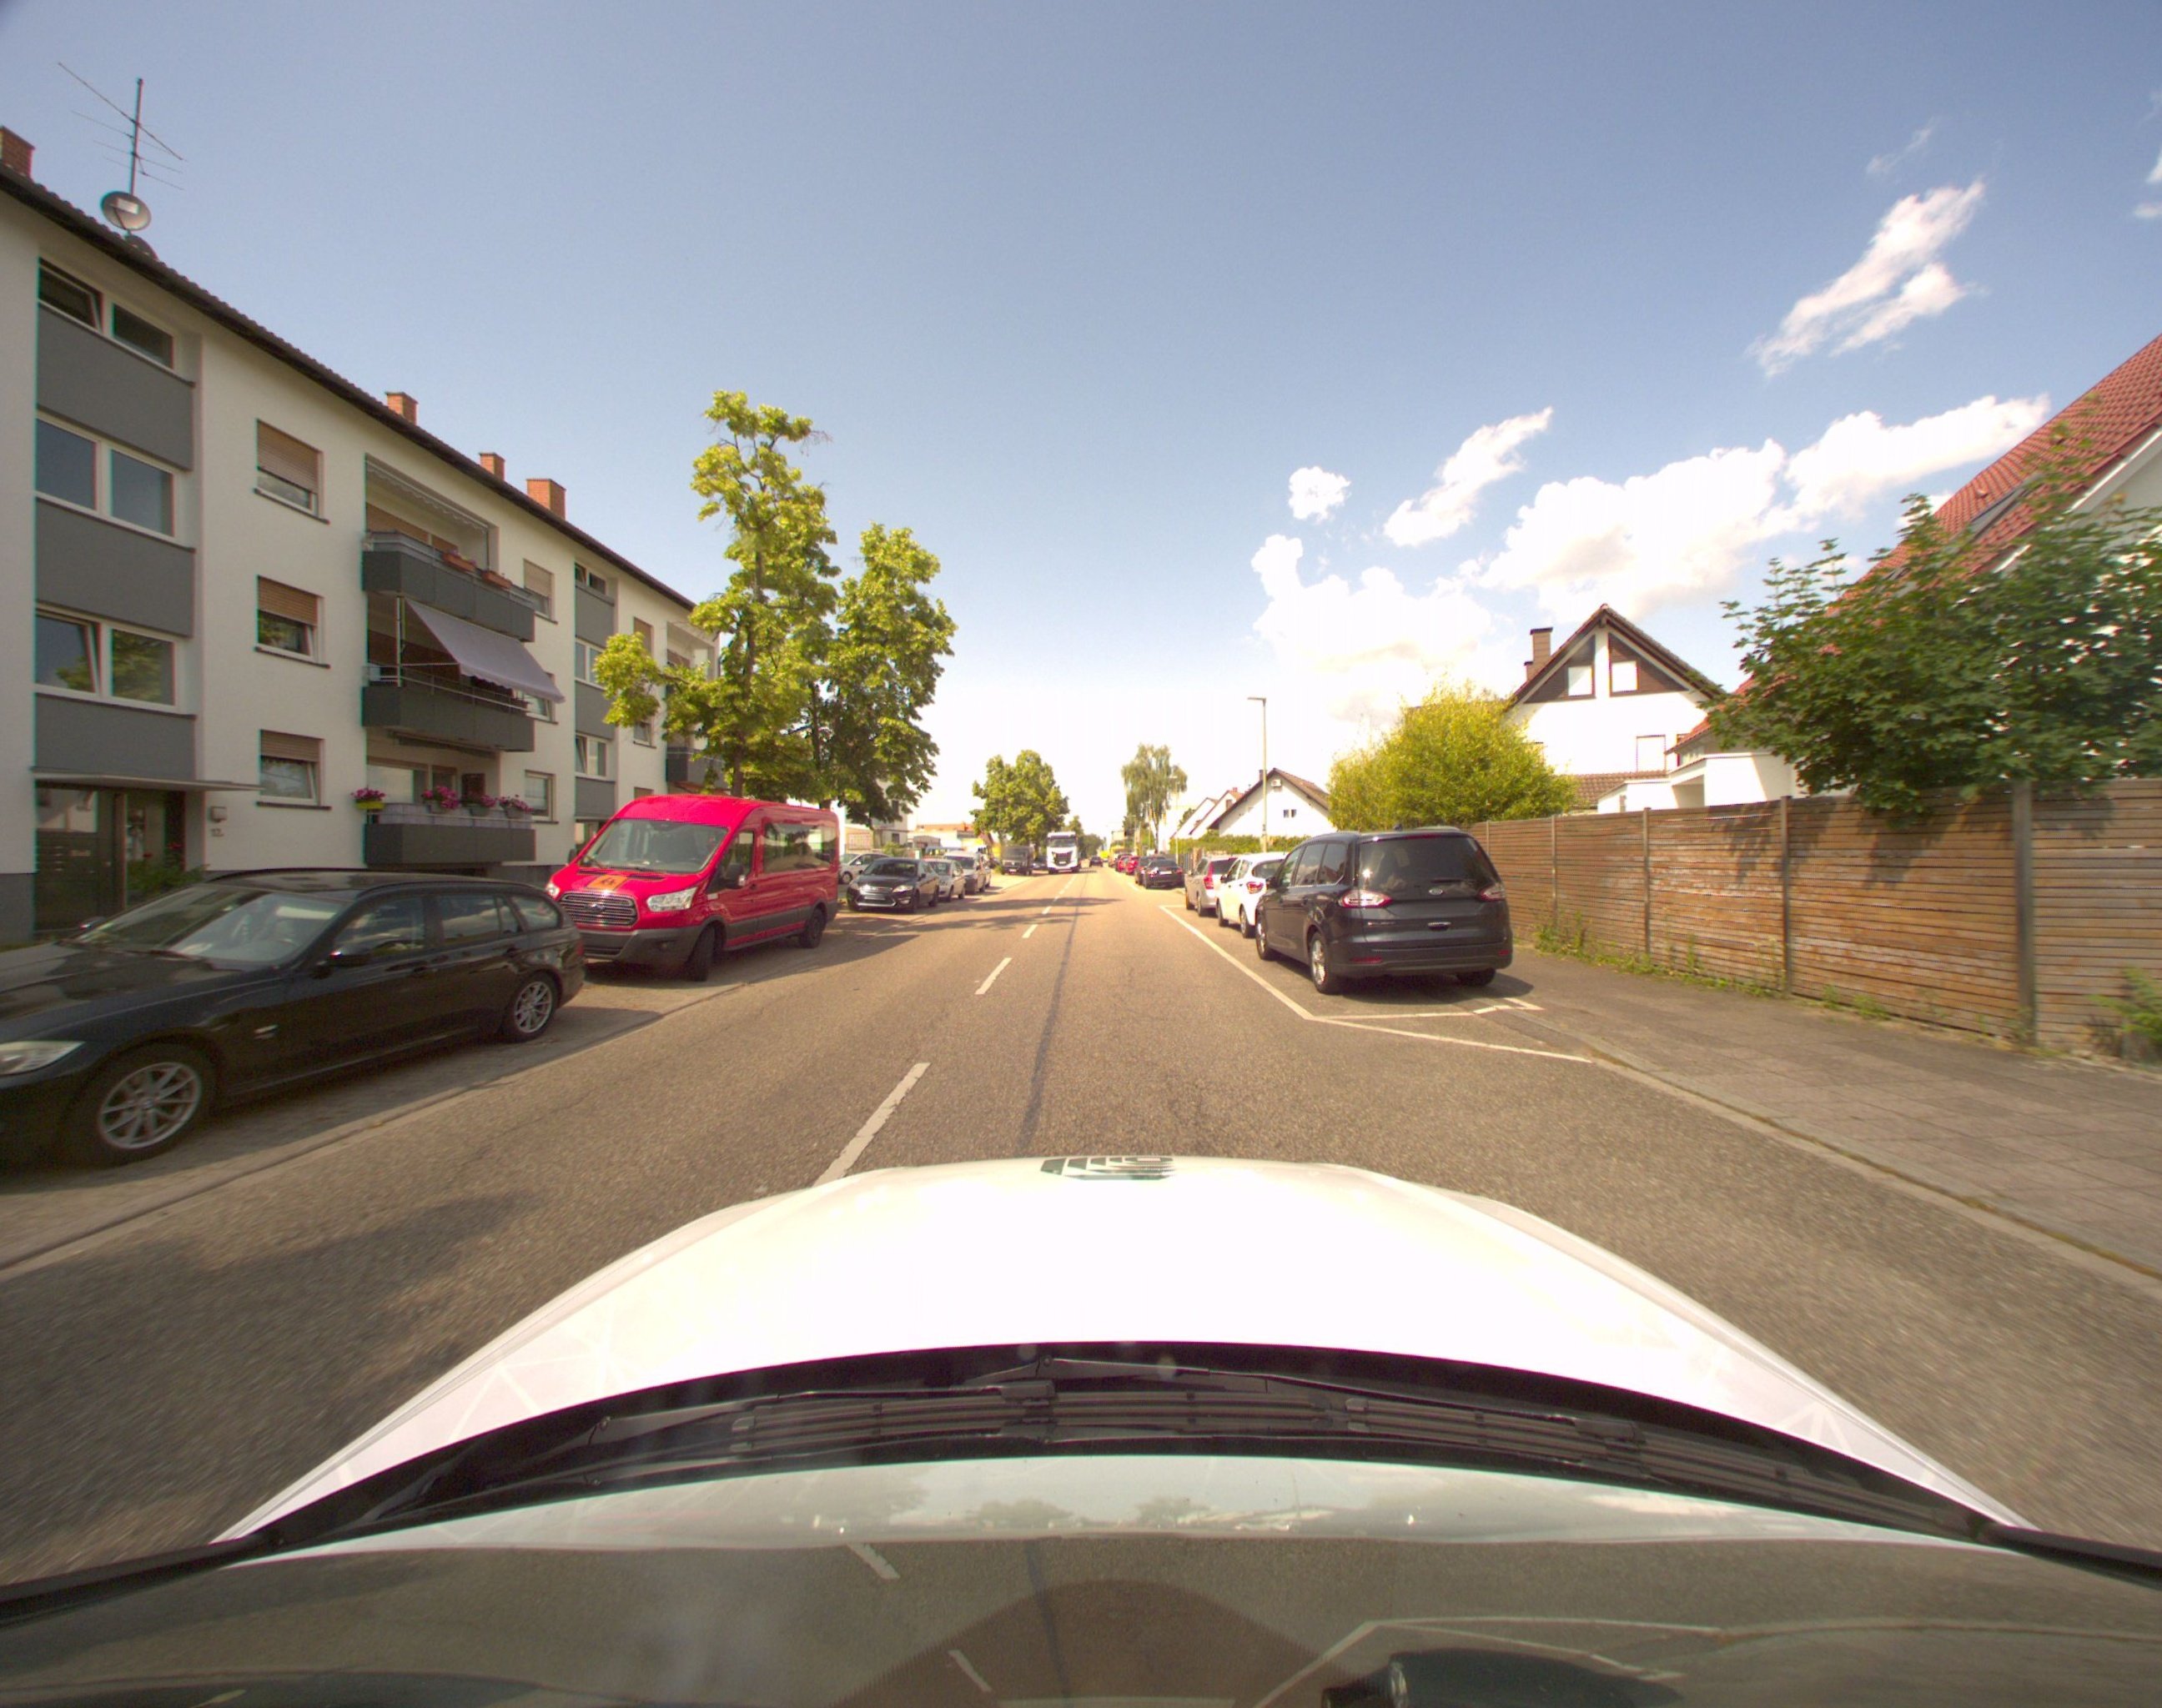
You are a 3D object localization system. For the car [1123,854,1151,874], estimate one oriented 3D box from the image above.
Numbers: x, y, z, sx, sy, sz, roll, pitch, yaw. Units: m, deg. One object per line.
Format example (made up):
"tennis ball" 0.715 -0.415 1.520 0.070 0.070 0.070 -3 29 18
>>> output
"car" 4.149 0.756 61.075 1.686 1.463 4.753 0 -1 -1

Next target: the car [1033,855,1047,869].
"car" -4.337 0.835 86.620 1.242 1.519 3.367 0 -1 2

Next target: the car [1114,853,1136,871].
"car" 4.087 0.758 76.086 1.823 1.662 4.554 0 -1 1

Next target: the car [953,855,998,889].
"car" -5.386 0.877 41.947 1.744 1.461 4.706 3 1 -2

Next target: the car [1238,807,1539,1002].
"car" 3.368 0.500 10.065 1.885 1.773 4.708 -2 -1 0

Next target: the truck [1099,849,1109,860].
"truck" 6.172 0.184 219.894 2.467 2.940 7.186 1 -1 -1

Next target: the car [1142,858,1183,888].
"car" 3.778 0.838 38.208 1.703 1.318 3.965 0 0 2

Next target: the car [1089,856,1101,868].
"car" 1.851 1.090 107.099 1.422 1.519 3.018 0 -1 2

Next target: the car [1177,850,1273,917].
"car" 3.582 0.694 20.960 1.739 1.552 4.292 0 0 0

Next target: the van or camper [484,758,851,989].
"van or camper" -5.643 0.219 12.479 2.140 2.549 6.225 3 0 2

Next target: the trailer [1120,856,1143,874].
"trailer" 4.054 0.882 65.779 1.603 1.378 4.431 0 -1 -1

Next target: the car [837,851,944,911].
"car" -5.304 0.721 23.330 1.803 1.493 4.597 2 -1 1

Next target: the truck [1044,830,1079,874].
"truck" -1.595 -0.141 68.984 2.764 3.499 5.880 0 -1 0

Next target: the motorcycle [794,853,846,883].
"motorcycle" -11.719 0.621 36.638 2.086 1.249 0.678 2 -1 0

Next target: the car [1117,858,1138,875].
"car" 4.016 1.095 71.150 1.678 1.435 4.147 0 -1 2

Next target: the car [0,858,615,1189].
"car" -5.653 0.792 5.959 1.681 1.437 4.467 3 0 2

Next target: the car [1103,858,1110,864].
"car" 6.432 1.750 208.260 1.646 1.387 4.423 1 0 1

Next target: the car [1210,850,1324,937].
"car" 3.504 0.680 15.904 1.438 1.505 3.671 0 0 1

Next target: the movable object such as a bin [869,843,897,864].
"movable object such as a bin" -14.663 -0.056 60.286 1.299 1.431 1.611 0 6 17

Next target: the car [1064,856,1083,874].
"car" -0.890 1.272 96.786 2.044 2.034 5.141 -2 -1 0

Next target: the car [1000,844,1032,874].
"car" -5.013 0.361 63.421 2.163 2.260 3.998 2 1 -1

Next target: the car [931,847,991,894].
"car" -5.102 0.671 35.181 1.804 1.806 4.490 3 0 0

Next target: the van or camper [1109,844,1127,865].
"van or camper" 4.666 0.097 104.007 1.988 2.664 5.766 0 -1 -1

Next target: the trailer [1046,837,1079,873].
"trailer" -1.701 0.128 74.259 2.826 3.069 8.883 0 -1 -2

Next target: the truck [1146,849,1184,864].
"truck" 14.432 0.365 139.950 6.070 2.577 2.545 0 0 -25

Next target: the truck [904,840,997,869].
"truck" -13.692 0.032 85.546 9.214 2.856 2.724 -1 0 4

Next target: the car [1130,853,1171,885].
"car" 3.600 0.774 42.829 1.738 1.551 4.120 2 0 -1

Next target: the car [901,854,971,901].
"car" -5.111 0.815 29.201 1.616 1.469 3.927 4 -1 2

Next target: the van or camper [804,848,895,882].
"van or camper" -11.276 0.542 39.855 1.758 1.543 4.025 1 -1 36

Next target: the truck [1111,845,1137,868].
"truck" 4.518 0.280 86.818 2.513 2.299 5.896 -1 -1 1

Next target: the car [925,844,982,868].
"car" -12.122 0.210 77.455 4.966 2.232 2.007 0 -2 13
